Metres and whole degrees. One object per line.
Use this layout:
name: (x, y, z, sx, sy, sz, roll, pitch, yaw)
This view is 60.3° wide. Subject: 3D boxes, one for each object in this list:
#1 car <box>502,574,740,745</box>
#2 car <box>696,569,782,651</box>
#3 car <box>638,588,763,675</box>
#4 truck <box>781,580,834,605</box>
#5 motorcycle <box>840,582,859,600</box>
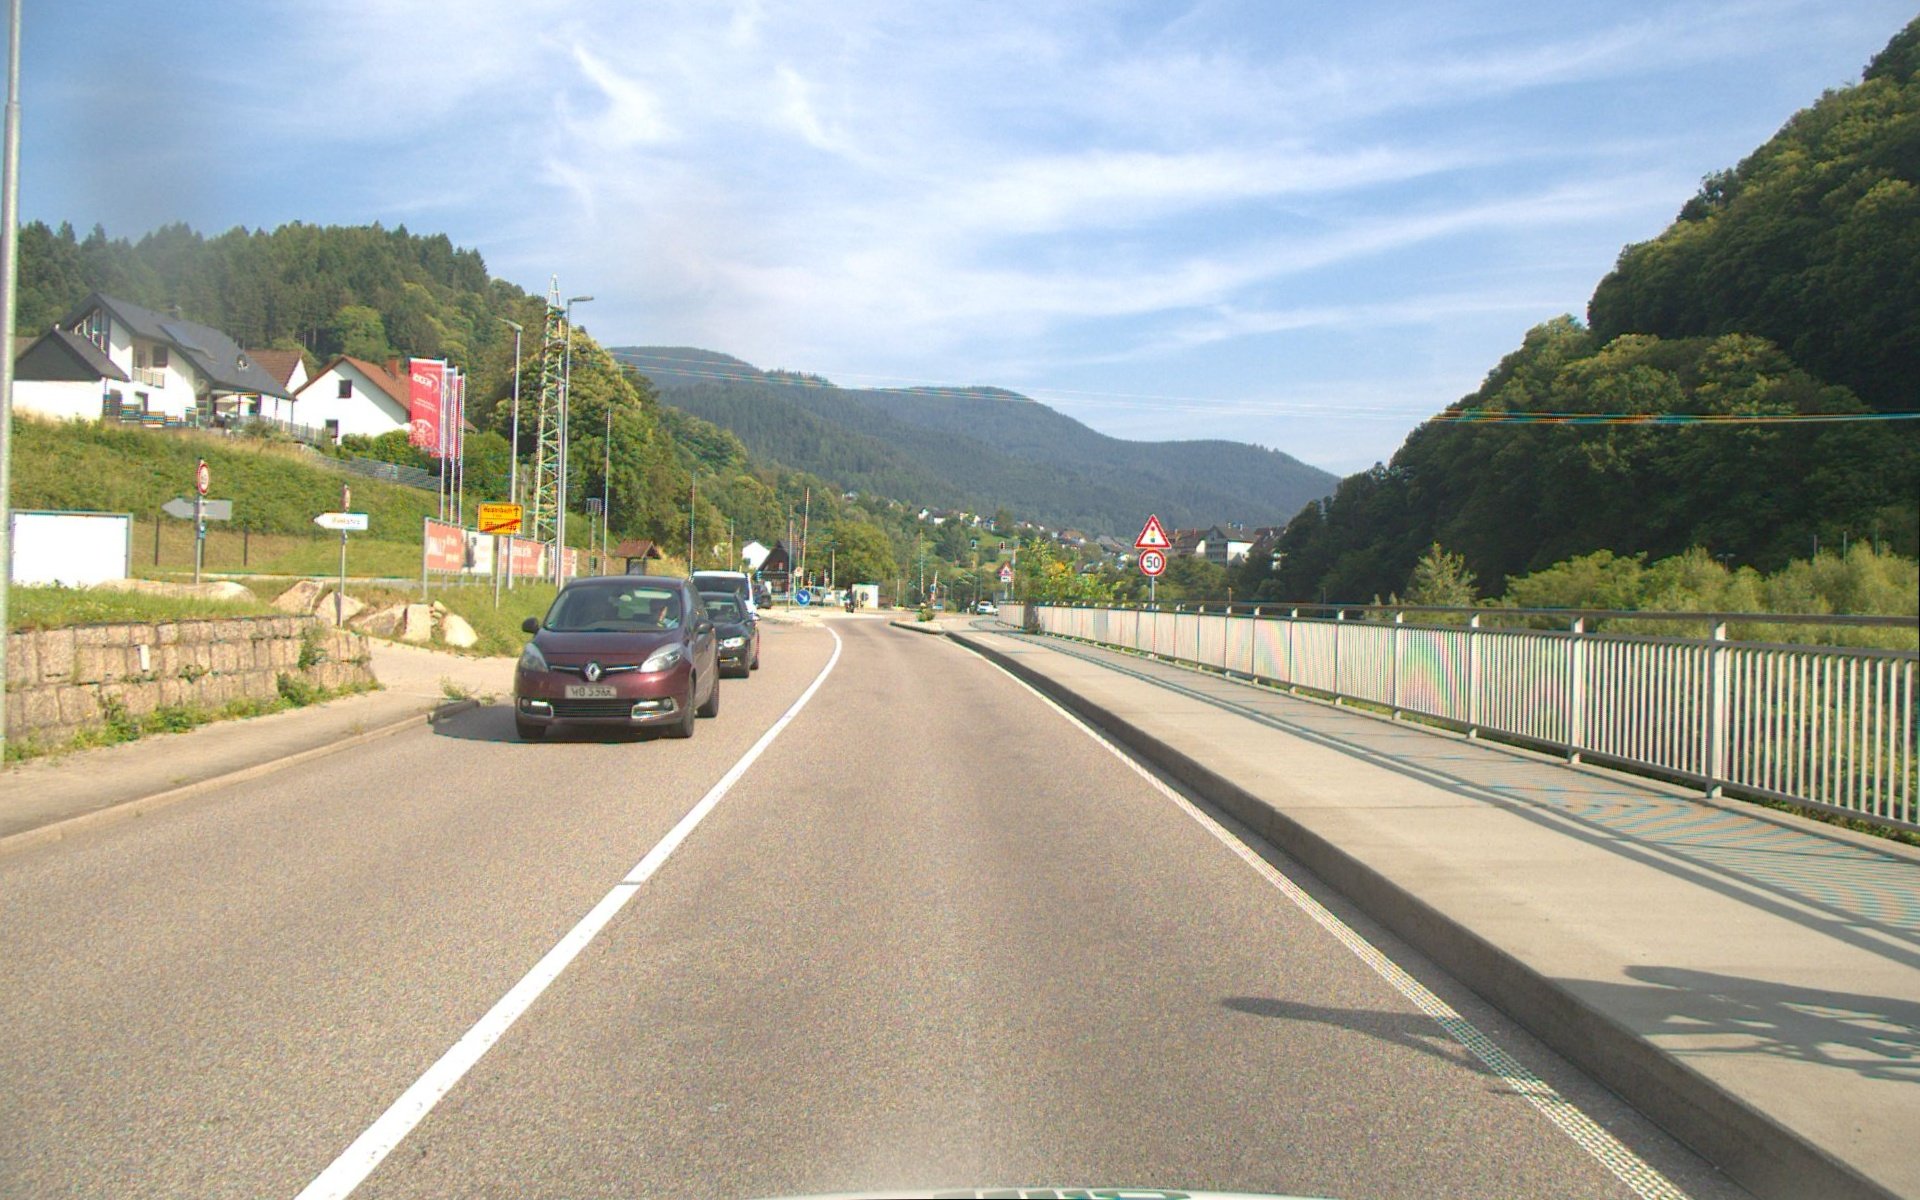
car: (-3.548, 0.550, 18.098, 1.760, 1.646, 4.461, 0, 1, -1)
car: (-5.503, 0.219, 41.629, 1.859, 1.920, 5.290, 0, 0, -5)
car: (-4.503, 0.498, 29.231, 1.738, 1.423, 4.231, 0, 0, -3)
truck: (-16.175, -0.803, 175.137, 5.898, 2.305, 1.988, 5, 4, 42)
motorcycle: (-7.910, -0.666, 118.669, 0.880, 1.204, 2.296, 2, 1, -15)
